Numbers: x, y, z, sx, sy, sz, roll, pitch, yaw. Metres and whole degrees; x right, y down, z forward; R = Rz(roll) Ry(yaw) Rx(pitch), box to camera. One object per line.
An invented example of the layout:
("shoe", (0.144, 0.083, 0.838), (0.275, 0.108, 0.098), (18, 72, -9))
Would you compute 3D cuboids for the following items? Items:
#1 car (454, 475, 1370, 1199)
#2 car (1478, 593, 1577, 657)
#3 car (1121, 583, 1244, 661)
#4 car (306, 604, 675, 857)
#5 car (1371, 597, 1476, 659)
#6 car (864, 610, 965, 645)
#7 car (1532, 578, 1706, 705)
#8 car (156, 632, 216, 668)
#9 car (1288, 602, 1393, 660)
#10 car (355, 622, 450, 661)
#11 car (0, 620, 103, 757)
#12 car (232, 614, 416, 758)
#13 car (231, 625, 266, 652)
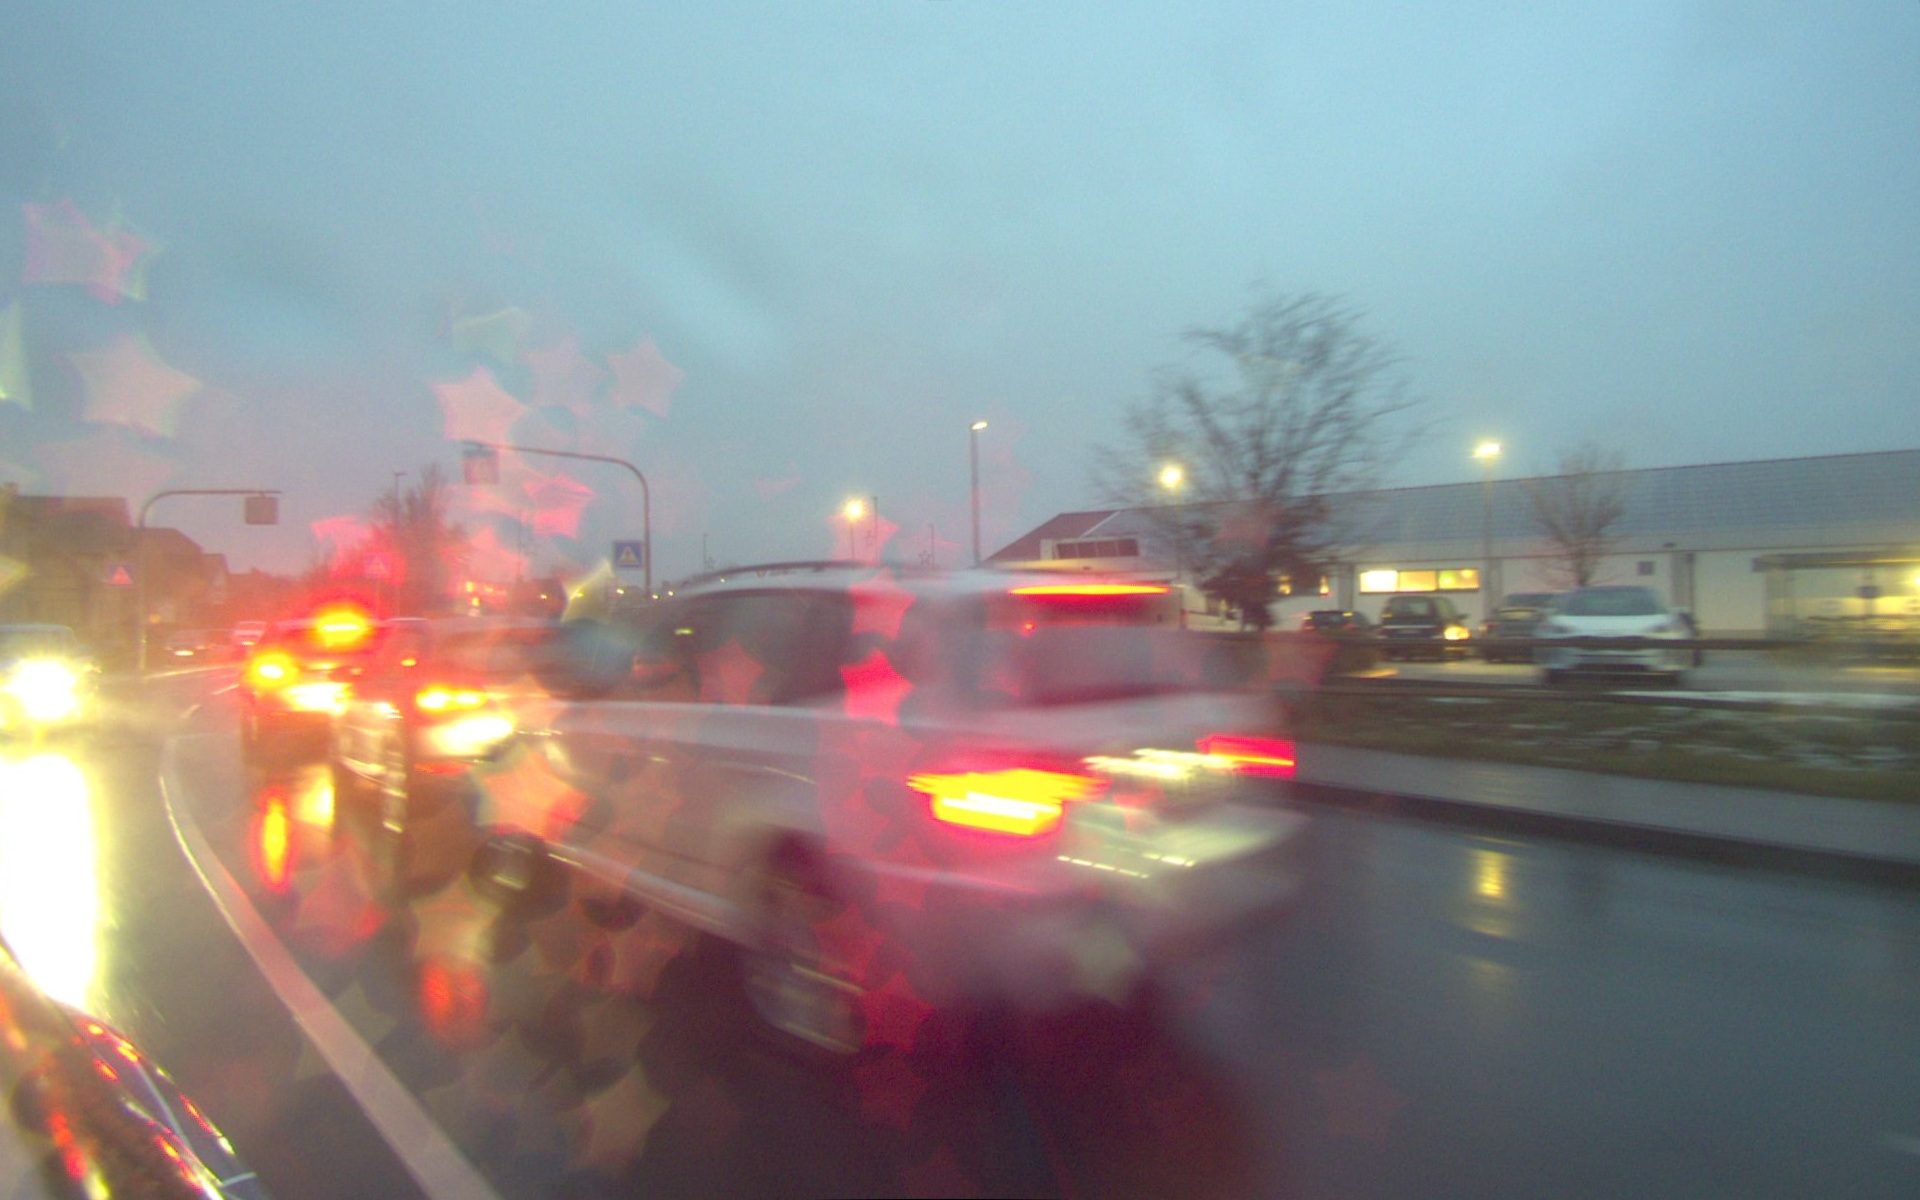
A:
("car", (-0.689, 0.616, 4.658), (1.750, 1.736, 4.426), (0, -1, -43))
("car", (15.615, 0.715, 27.747), (2.049, 1.575, 4.394), (-3, -3, 33))
("car", (7.336, 0.748, 32.911), (2.212, 2.300, 5.144), (-3, -3, 33))
("car", (-4.007, 0.839, 8.237), (1.749, 1.506, 4.049), (-1, -1, -40))
("car", (13.247, 0.821, 28.772), (2.049, 1.575, 4.394), (-3, -3, 33))
("car", (-2.176, 1.276, 47.541), (4.777, 1.548, 1.667), (-1, -1, 37))
("car", (10.575, 0.598, 16.387), (2.027, 1.724, 4.733), (-2, -1, 32))
("car", (-34.677, 2.211, 45.415), (1.747, 1.441, 3.807), (-2, -1, -32))
("car", (11.514, 0.954, 30.440), (2.049, 1.575, 4.394), (-3, -3, 33))
("car", (-23.433, 1.707, 42.728), (1.970, 1.484, 4.003), (-2, 0, -3))
("car", (-13.165, 1.133, 13.867), (1.748, 1.654, 4.432), (-1, -1, -35))
("car", (-8.138, 0.949, 12.794), (1.641, 1.497, 4.009), (-1, -1, -37))
("car", (-51.807, 2.778, 73.754), (1.916, 1.819, 4.184), (-1, -1, -33))
